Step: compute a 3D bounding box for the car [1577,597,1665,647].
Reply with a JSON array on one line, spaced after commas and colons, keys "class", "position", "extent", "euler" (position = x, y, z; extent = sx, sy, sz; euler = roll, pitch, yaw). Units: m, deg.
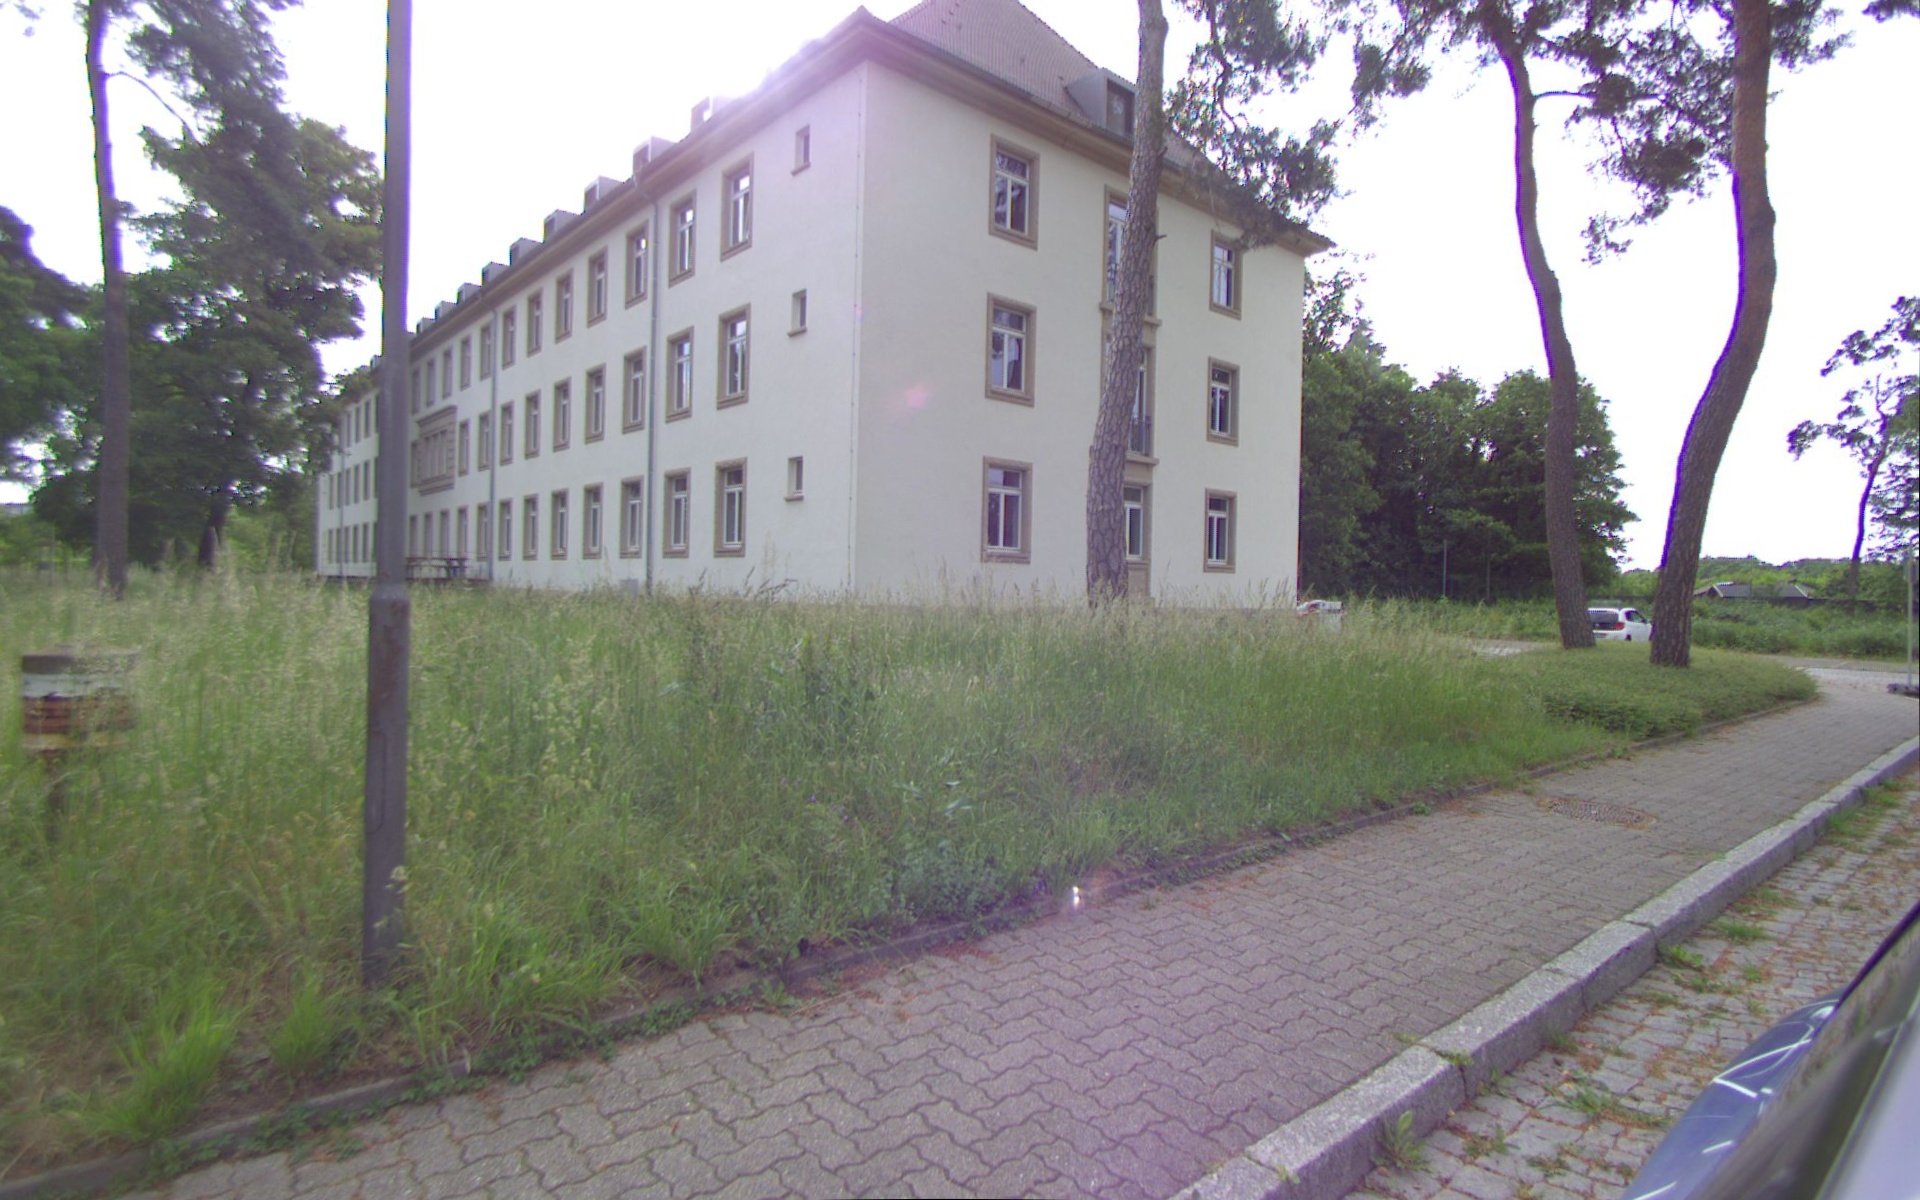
[{"class": "car", "position": [22.167, 0.696, 33.898], "extent": [3.221, 1.451, 1.640], "euler": [-2, 3, -41]}]

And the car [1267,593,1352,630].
[{"class": "car", "position": [14.666, 0.451, 42.342], "extent": [3.931, 1.345, 1.640], "euler": [-2, 2, -41]}]
